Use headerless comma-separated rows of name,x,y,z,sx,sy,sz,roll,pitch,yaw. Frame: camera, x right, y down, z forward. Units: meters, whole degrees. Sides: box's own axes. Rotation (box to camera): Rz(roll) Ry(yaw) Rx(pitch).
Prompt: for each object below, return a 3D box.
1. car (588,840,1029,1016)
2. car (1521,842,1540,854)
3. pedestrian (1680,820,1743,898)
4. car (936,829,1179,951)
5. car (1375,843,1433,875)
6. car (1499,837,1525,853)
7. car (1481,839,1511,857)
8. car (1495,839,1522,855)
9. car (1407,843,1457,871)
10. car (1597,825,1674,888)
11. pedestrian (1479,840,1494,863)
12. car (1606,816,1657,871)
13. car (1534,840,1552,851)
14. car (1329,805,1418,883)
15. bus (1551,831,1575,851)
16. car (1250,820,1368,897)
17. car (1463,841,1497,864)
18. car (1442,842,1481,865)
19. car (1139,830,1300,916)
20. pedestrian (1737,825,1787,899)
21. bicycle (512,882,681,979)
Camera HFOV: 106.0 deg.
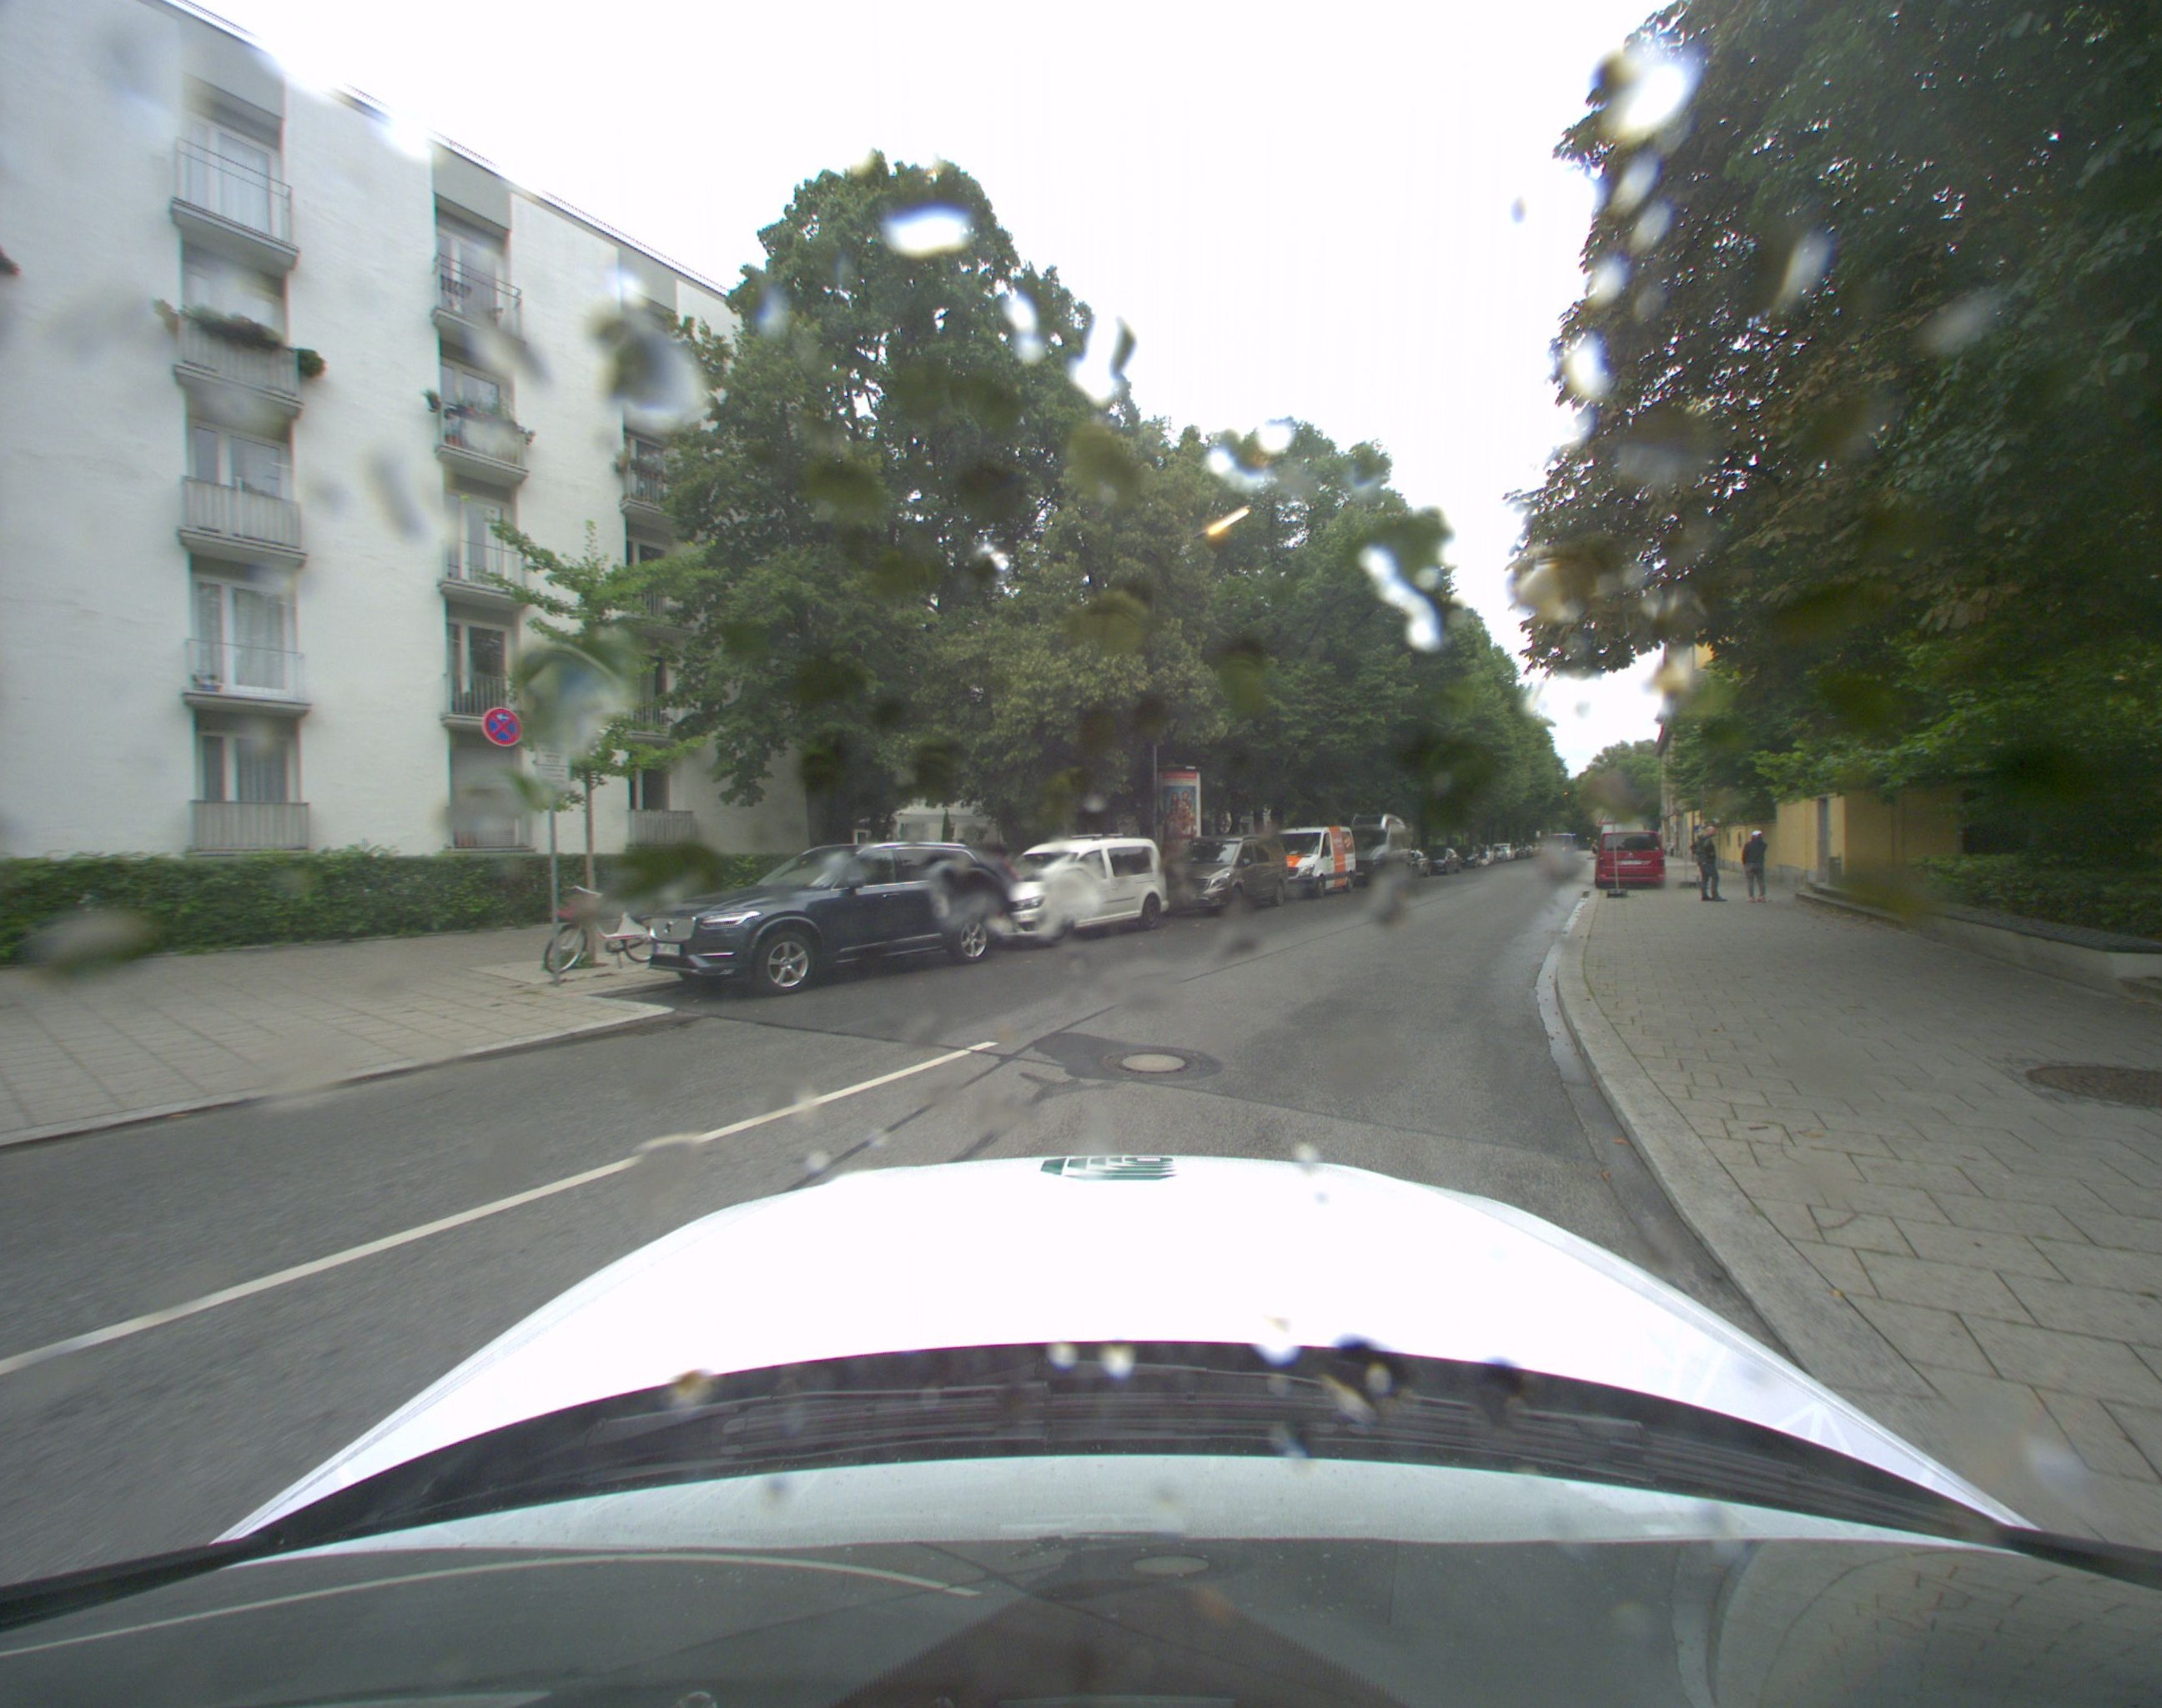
car,-3.196,0.705,10.834,2.063,1.719,5.339,-1,1,36
car,54.424,-0.718,98.548,1.974,1.420,4.025,0,1,30
pedestrian,15.343,0.109,19.837,0.815,1.836,0.954,-1,0,6
car,-0.234,0.533,15.380,2.063,1.903,4.890,-1,1,34
car,15.694,0.213,39.440,1.974,1.420,4.025,0,1,30
car,41.648,-0.888,78.678,1.974,1.420,4.025,0,1,30
car,35.430,-0.508,69.460,1.974,1.420,4.025,0,1,30
car,38.975,-0.648,74.204,1.974,1.420,4.025,0,1,30
car,18.983,0.139,43.968,1.974,1.420,4.155,0,1,30
car,18.653,0.044,27.587,1.893,1.937,5.001,-1,1,31
pedestrian,28.571,-0.188,57.402,0.875,1.597,0.828,-1,0,26
car,27.479,-0.530,40.735,1.974,2.558,5.465,-1,0,33
car,59.976,-1.138,105.759,1.974,1.420,4.025,0,1,30
car,12.535,-0.435,34.592,2.151,3.002,6.273,-1,0,33
bus,74.790,-1.987,126.483,2.910,2.919,8.290,0,1,28
car,7.754,0.109,27.228,2.063,2.265,5.639,-3,-1,34
car,29.934,-0.138,60.988,1.974,1.620,4.155,0,1,30
car,26.030,-0.054,55.659,1.974,1.486,4.155,0,1,30
car,3.758,0.413,21.026,2.006,1.908,5.703,-2,0,32
pedestrian,15.818,0.183,18.932,0.629,1.667,0.699,-1,0,11
bicycle,-6.328,0.956,10.756,0.744,1.085,1.794,-1,0,23
